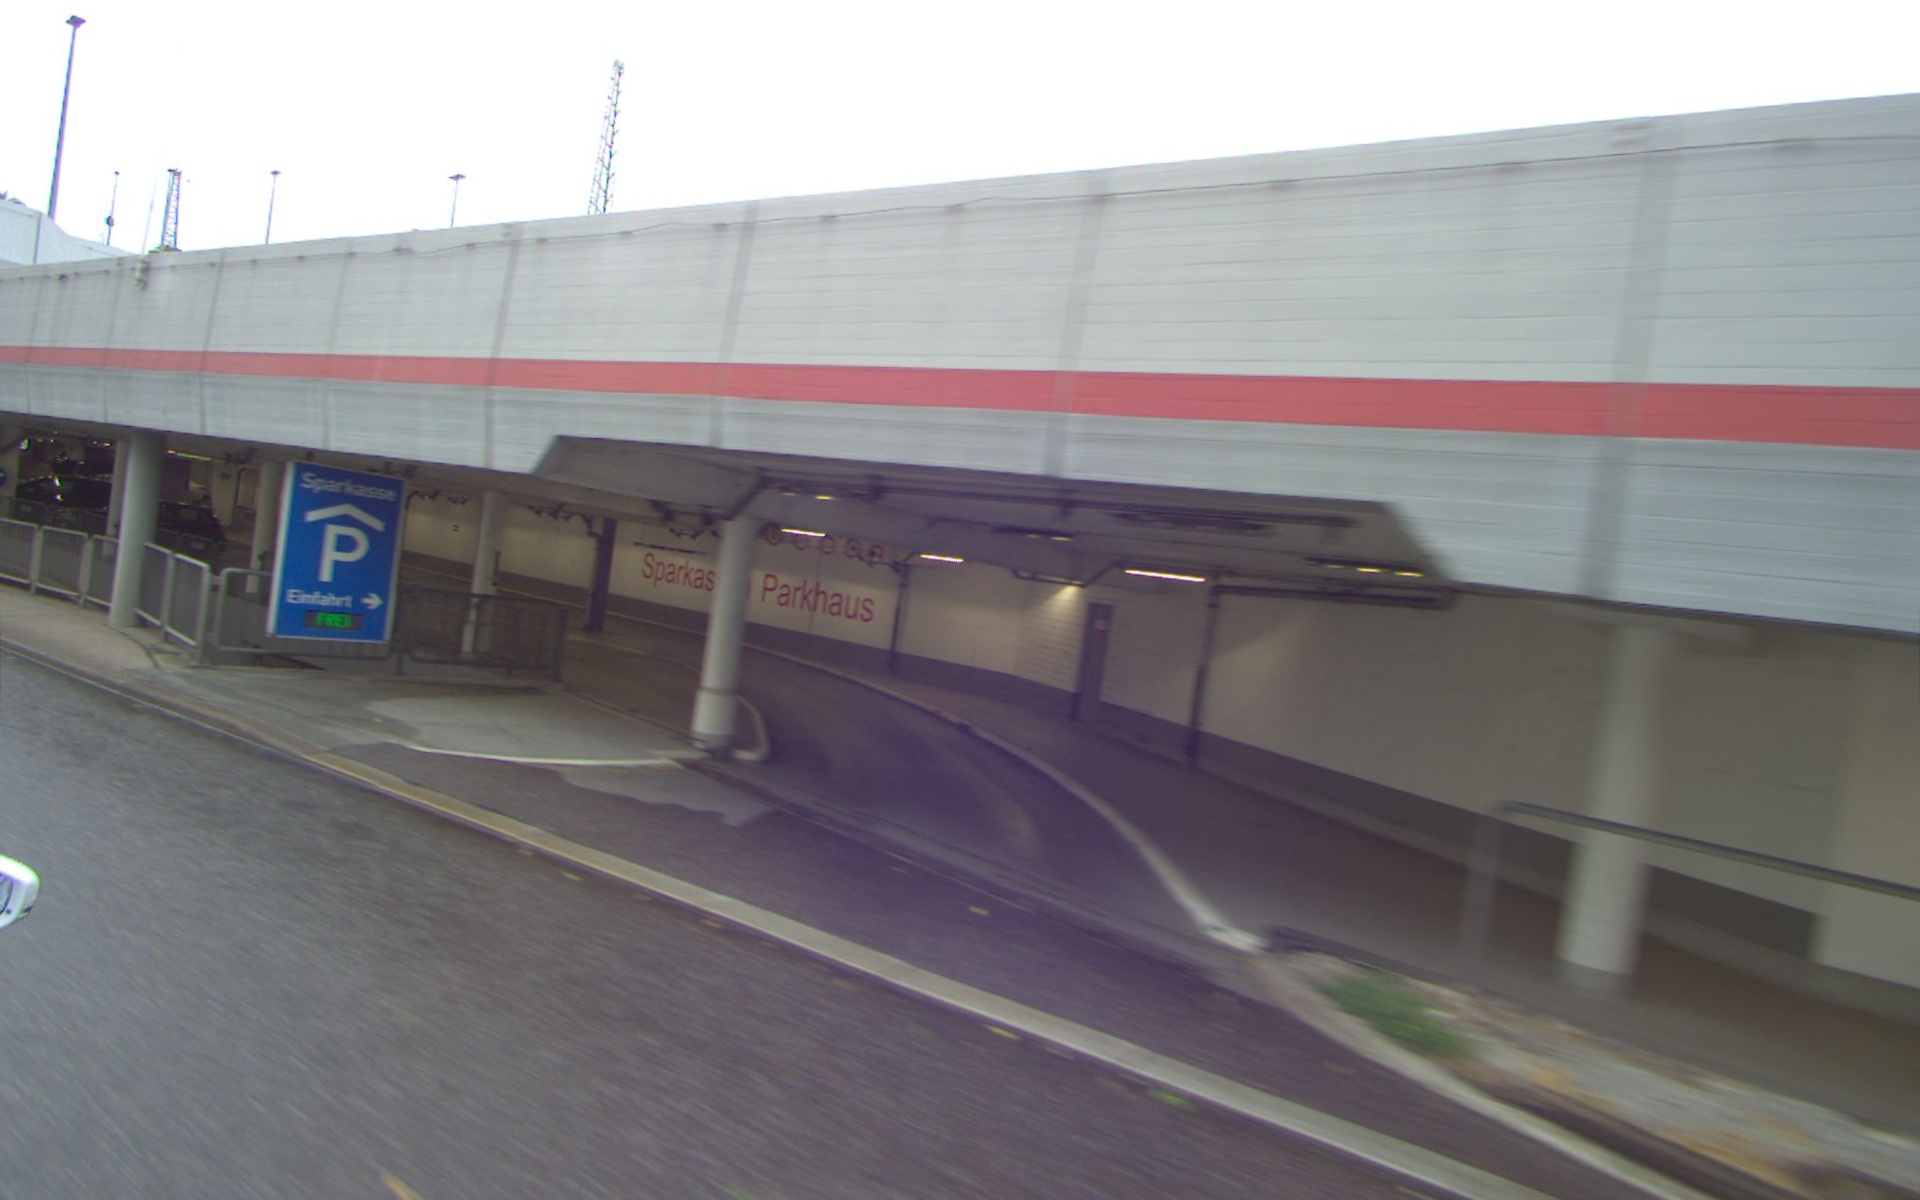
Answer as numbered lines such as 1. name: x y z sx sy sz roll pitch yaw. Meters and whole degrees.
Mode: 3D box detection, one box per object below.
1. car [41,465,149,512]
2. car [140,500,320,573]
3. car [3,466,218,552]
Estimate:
1. car: -45.429 -5.810 52.873 1.973 1.658 3.984 6 -3 42
2. car: -20.428 -1.753 28.253 1.781 1.524 3.717 8 1 40
3. car: -25.247 -2.663 30.055 1.797 1.658 4.574 6 -3 41
